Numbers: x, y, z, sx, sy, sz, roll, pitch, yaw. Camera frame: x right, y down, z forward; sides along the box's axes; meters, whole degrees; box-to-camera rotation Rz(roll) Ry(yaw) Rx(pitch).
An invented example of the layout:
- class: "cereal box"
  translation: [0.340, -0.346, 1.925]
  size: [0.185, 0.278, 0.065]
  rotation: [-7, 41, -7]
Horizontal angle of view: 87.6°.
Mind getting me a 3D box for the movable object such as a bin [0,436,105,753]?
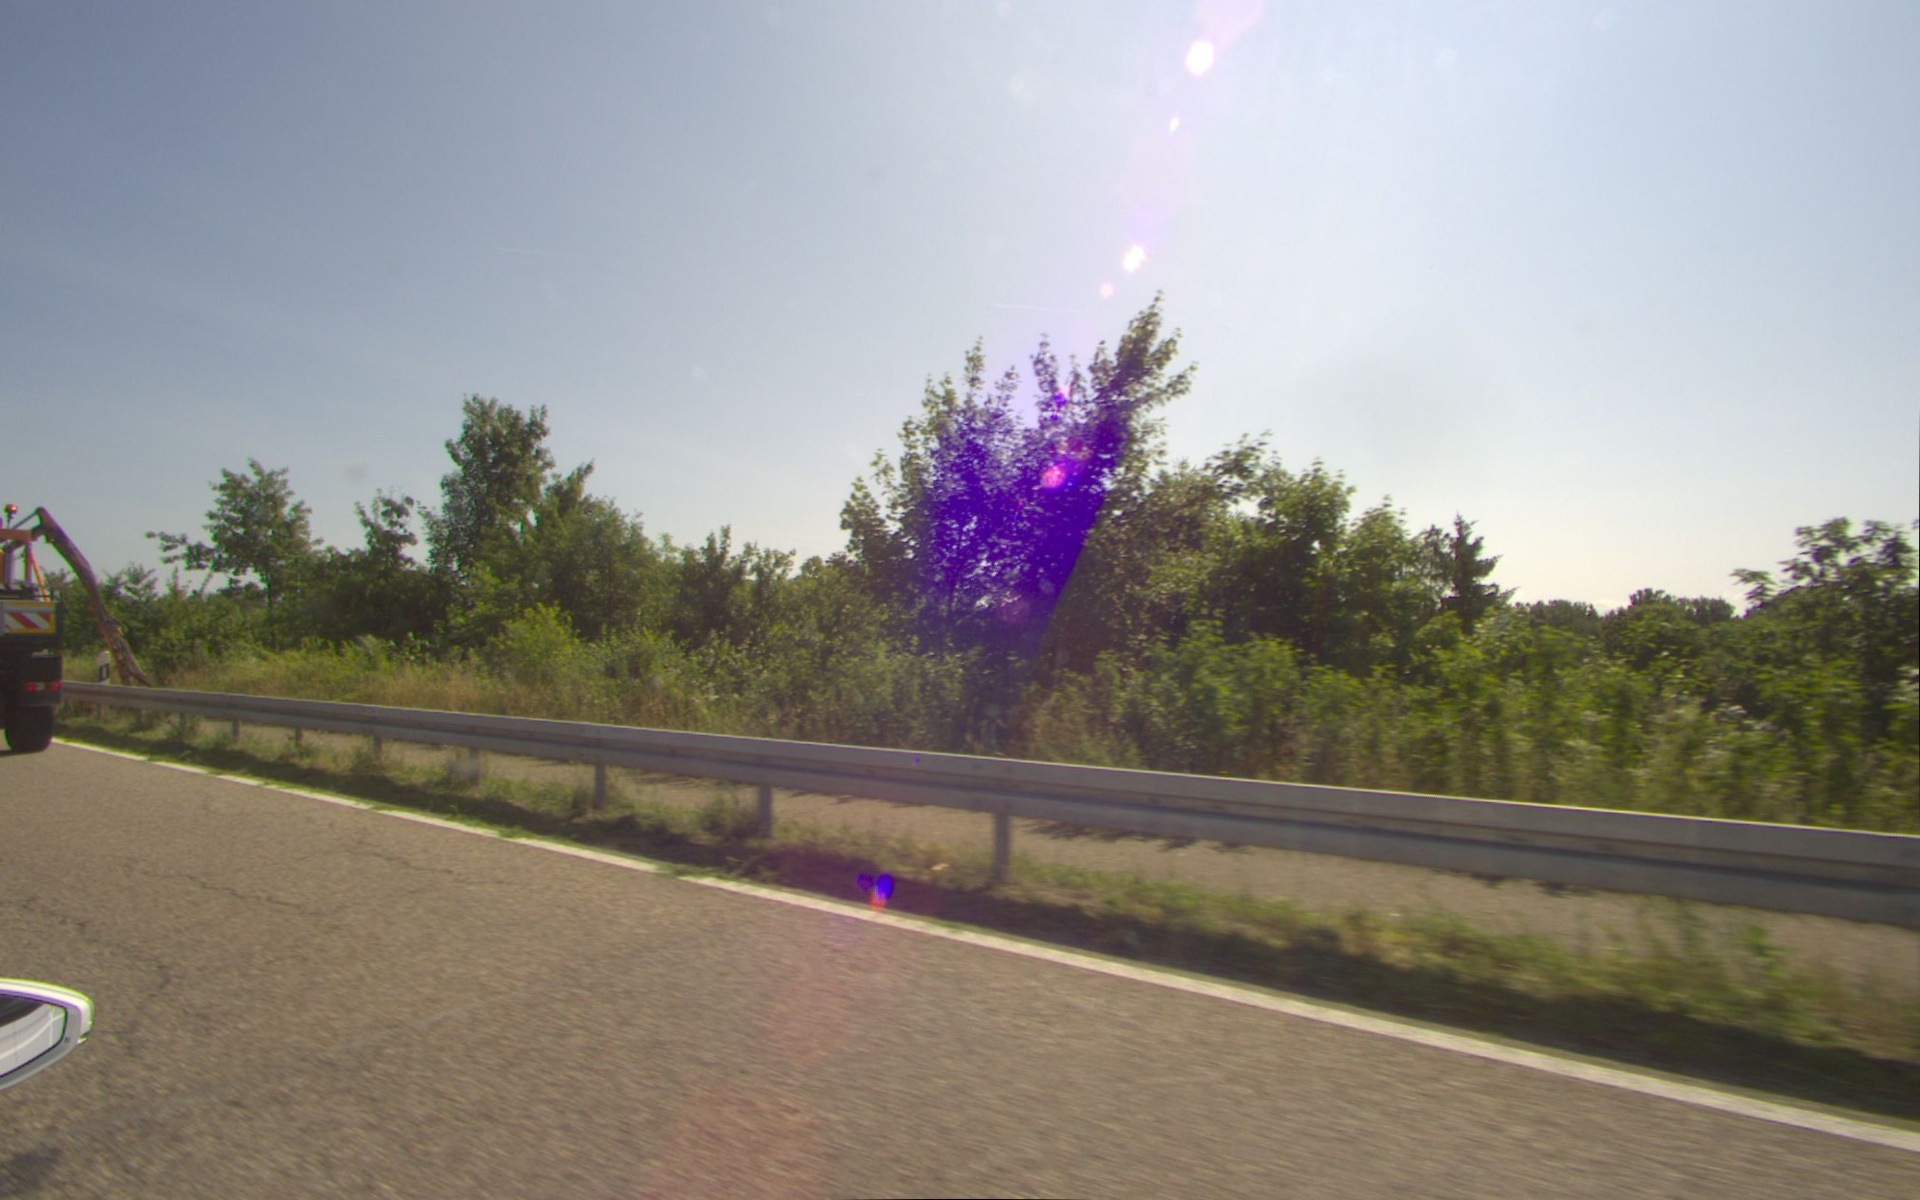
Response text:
- class: "movable object such as a bin"
  translation: [-15.694, 0.008, 14.850]
  size: [9.327, 3.888, 2.744]
  rotation: [-1, -2, 38]
